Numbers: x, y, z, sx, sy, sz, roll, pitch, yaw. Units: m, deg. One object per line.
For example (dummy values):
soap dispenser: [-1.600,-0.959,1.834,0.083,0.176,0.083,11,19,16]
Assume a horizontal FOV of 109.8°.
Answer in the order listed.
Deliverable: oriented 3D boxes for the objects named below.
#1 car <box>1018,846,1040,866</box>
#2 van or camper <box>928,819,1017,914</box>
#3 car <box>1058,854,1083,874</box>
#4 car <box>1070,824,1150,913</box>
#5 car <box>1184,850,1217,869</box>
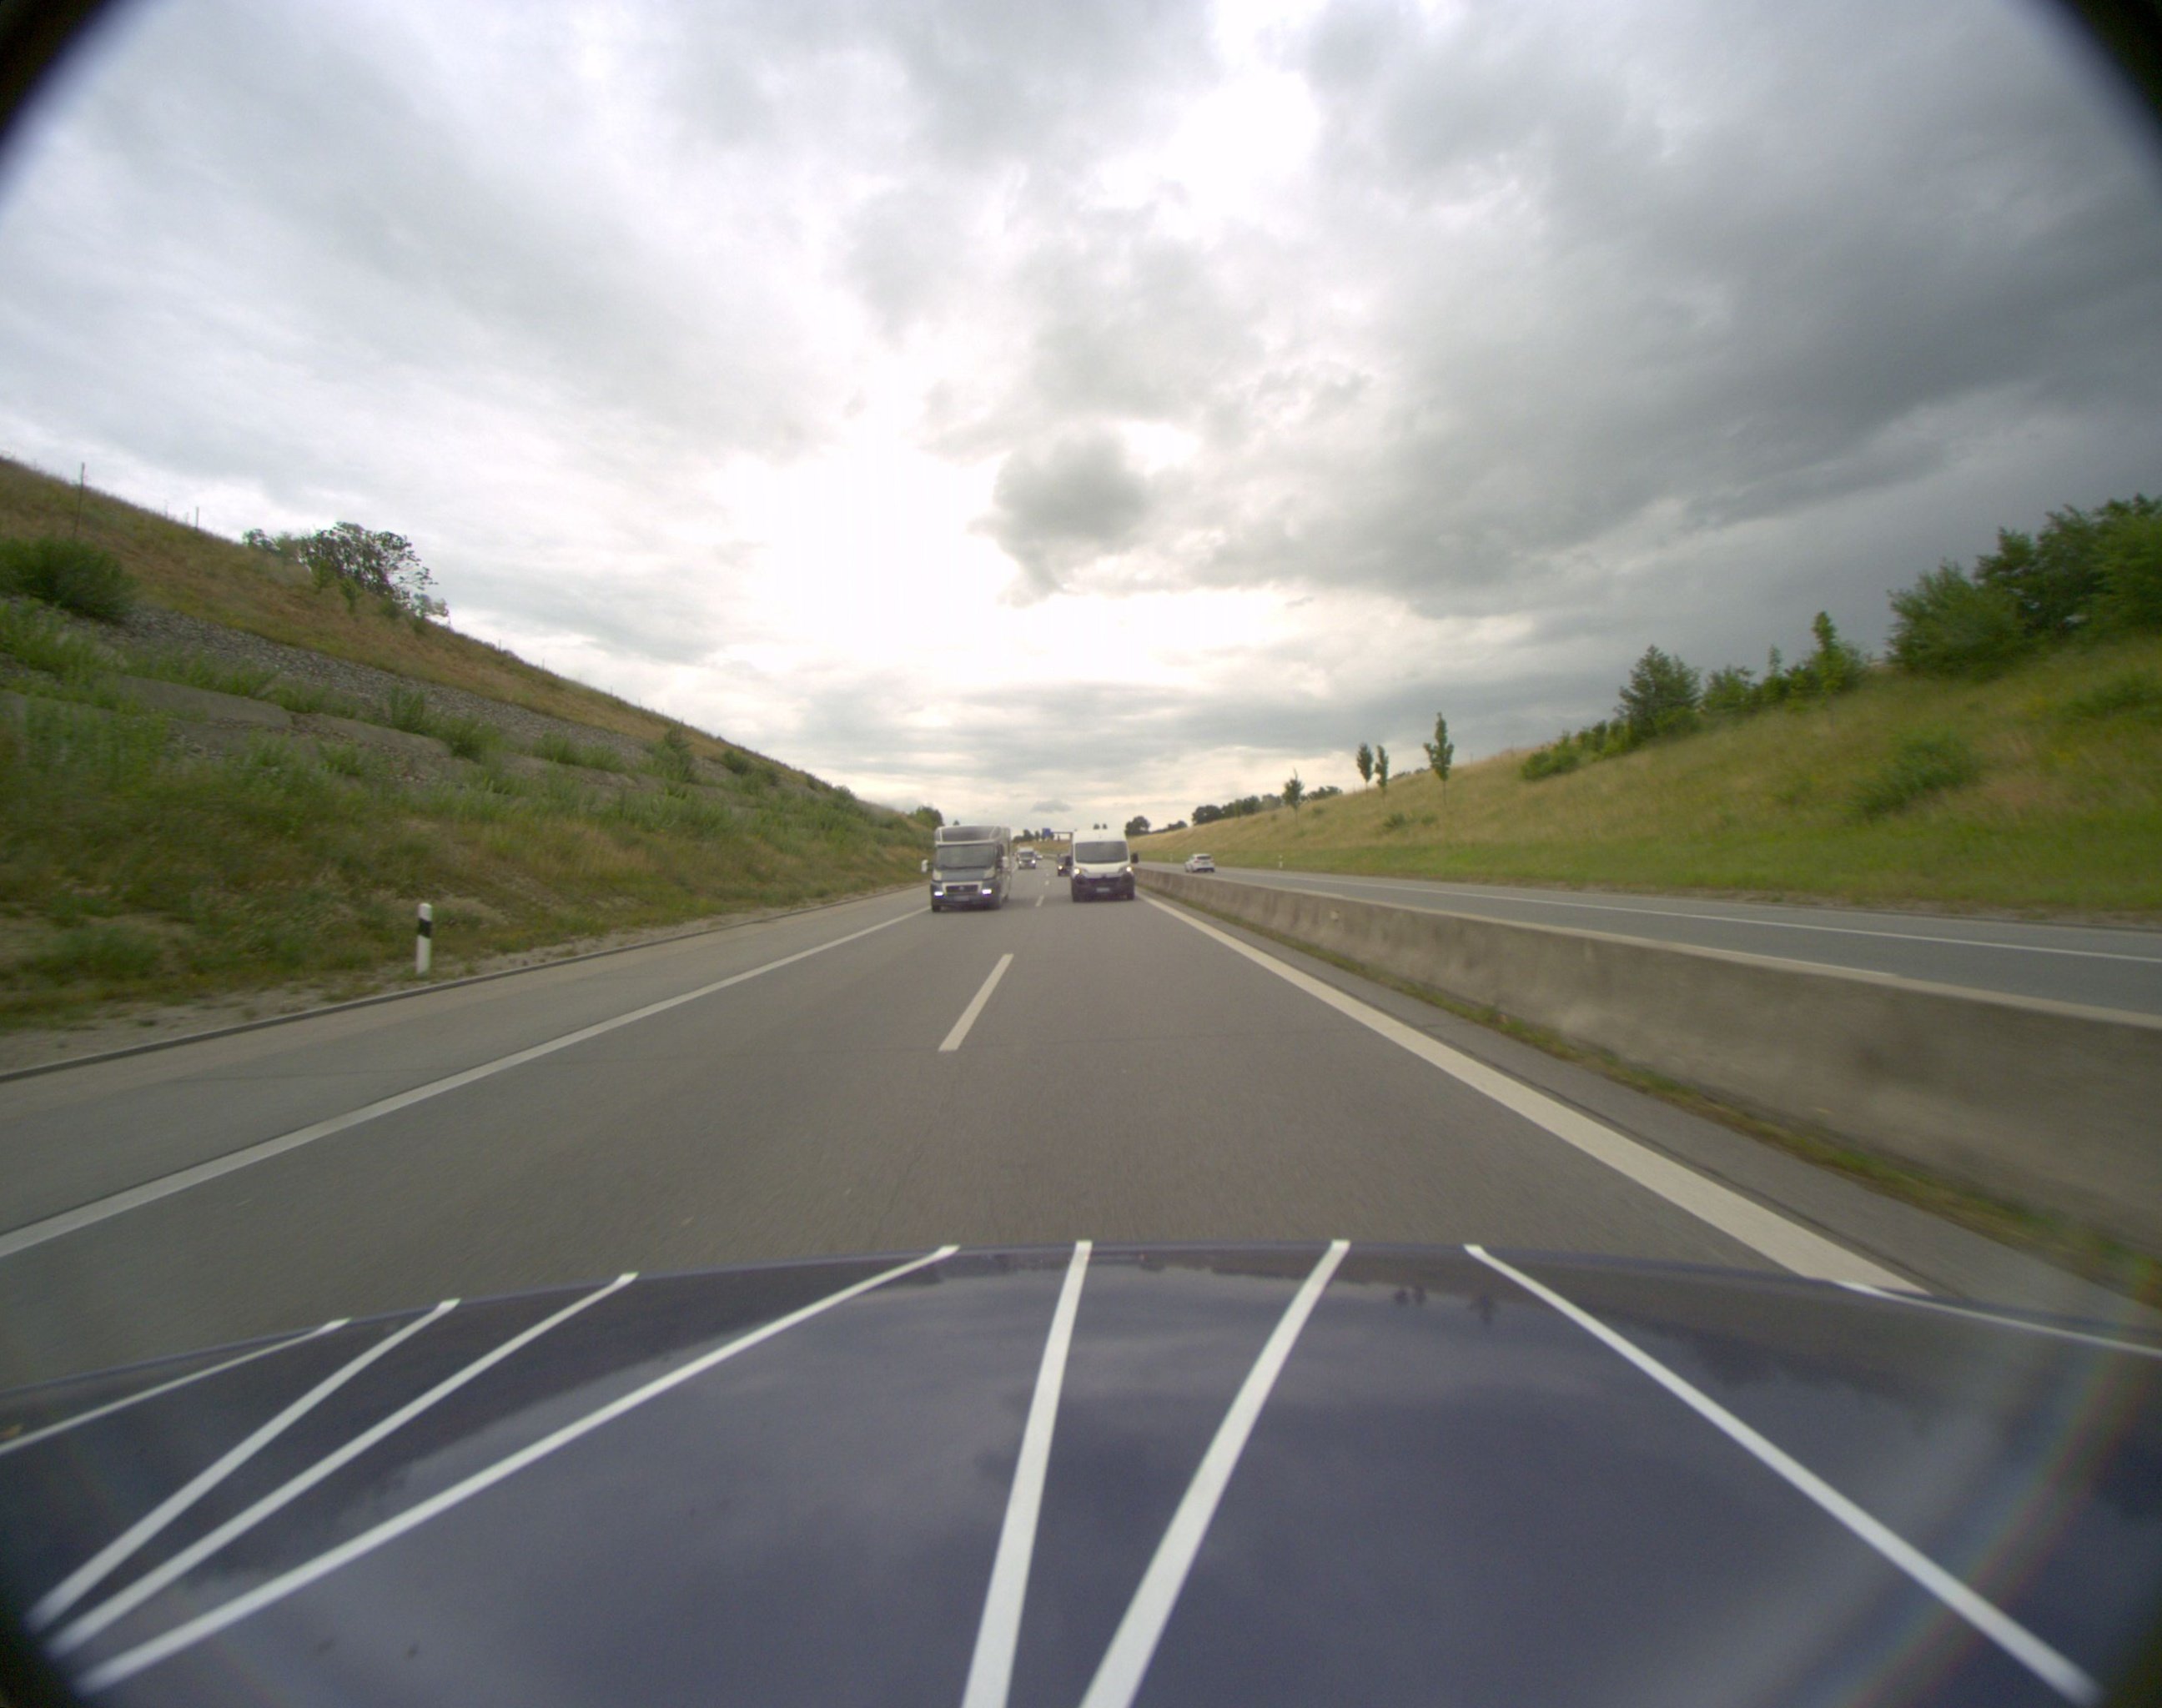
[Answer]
car: [-6.165,0.217,91.201,2.289,2.259,6.431,-1,0,-1]
van or camper: [-3.455,0.358,25.711,2.104,2.721,6.900,-2,0,-1]
car: [-0.858,0.723,58.210,1.704,1.432,3.644,-1,0,-3]
car: [0.754,0.381,23.930,2.132,2.412,6.110,-1,0,-1]
car: [9.755,0.445,62.287,1.778,1.432,5.014,-1,0,-2]
